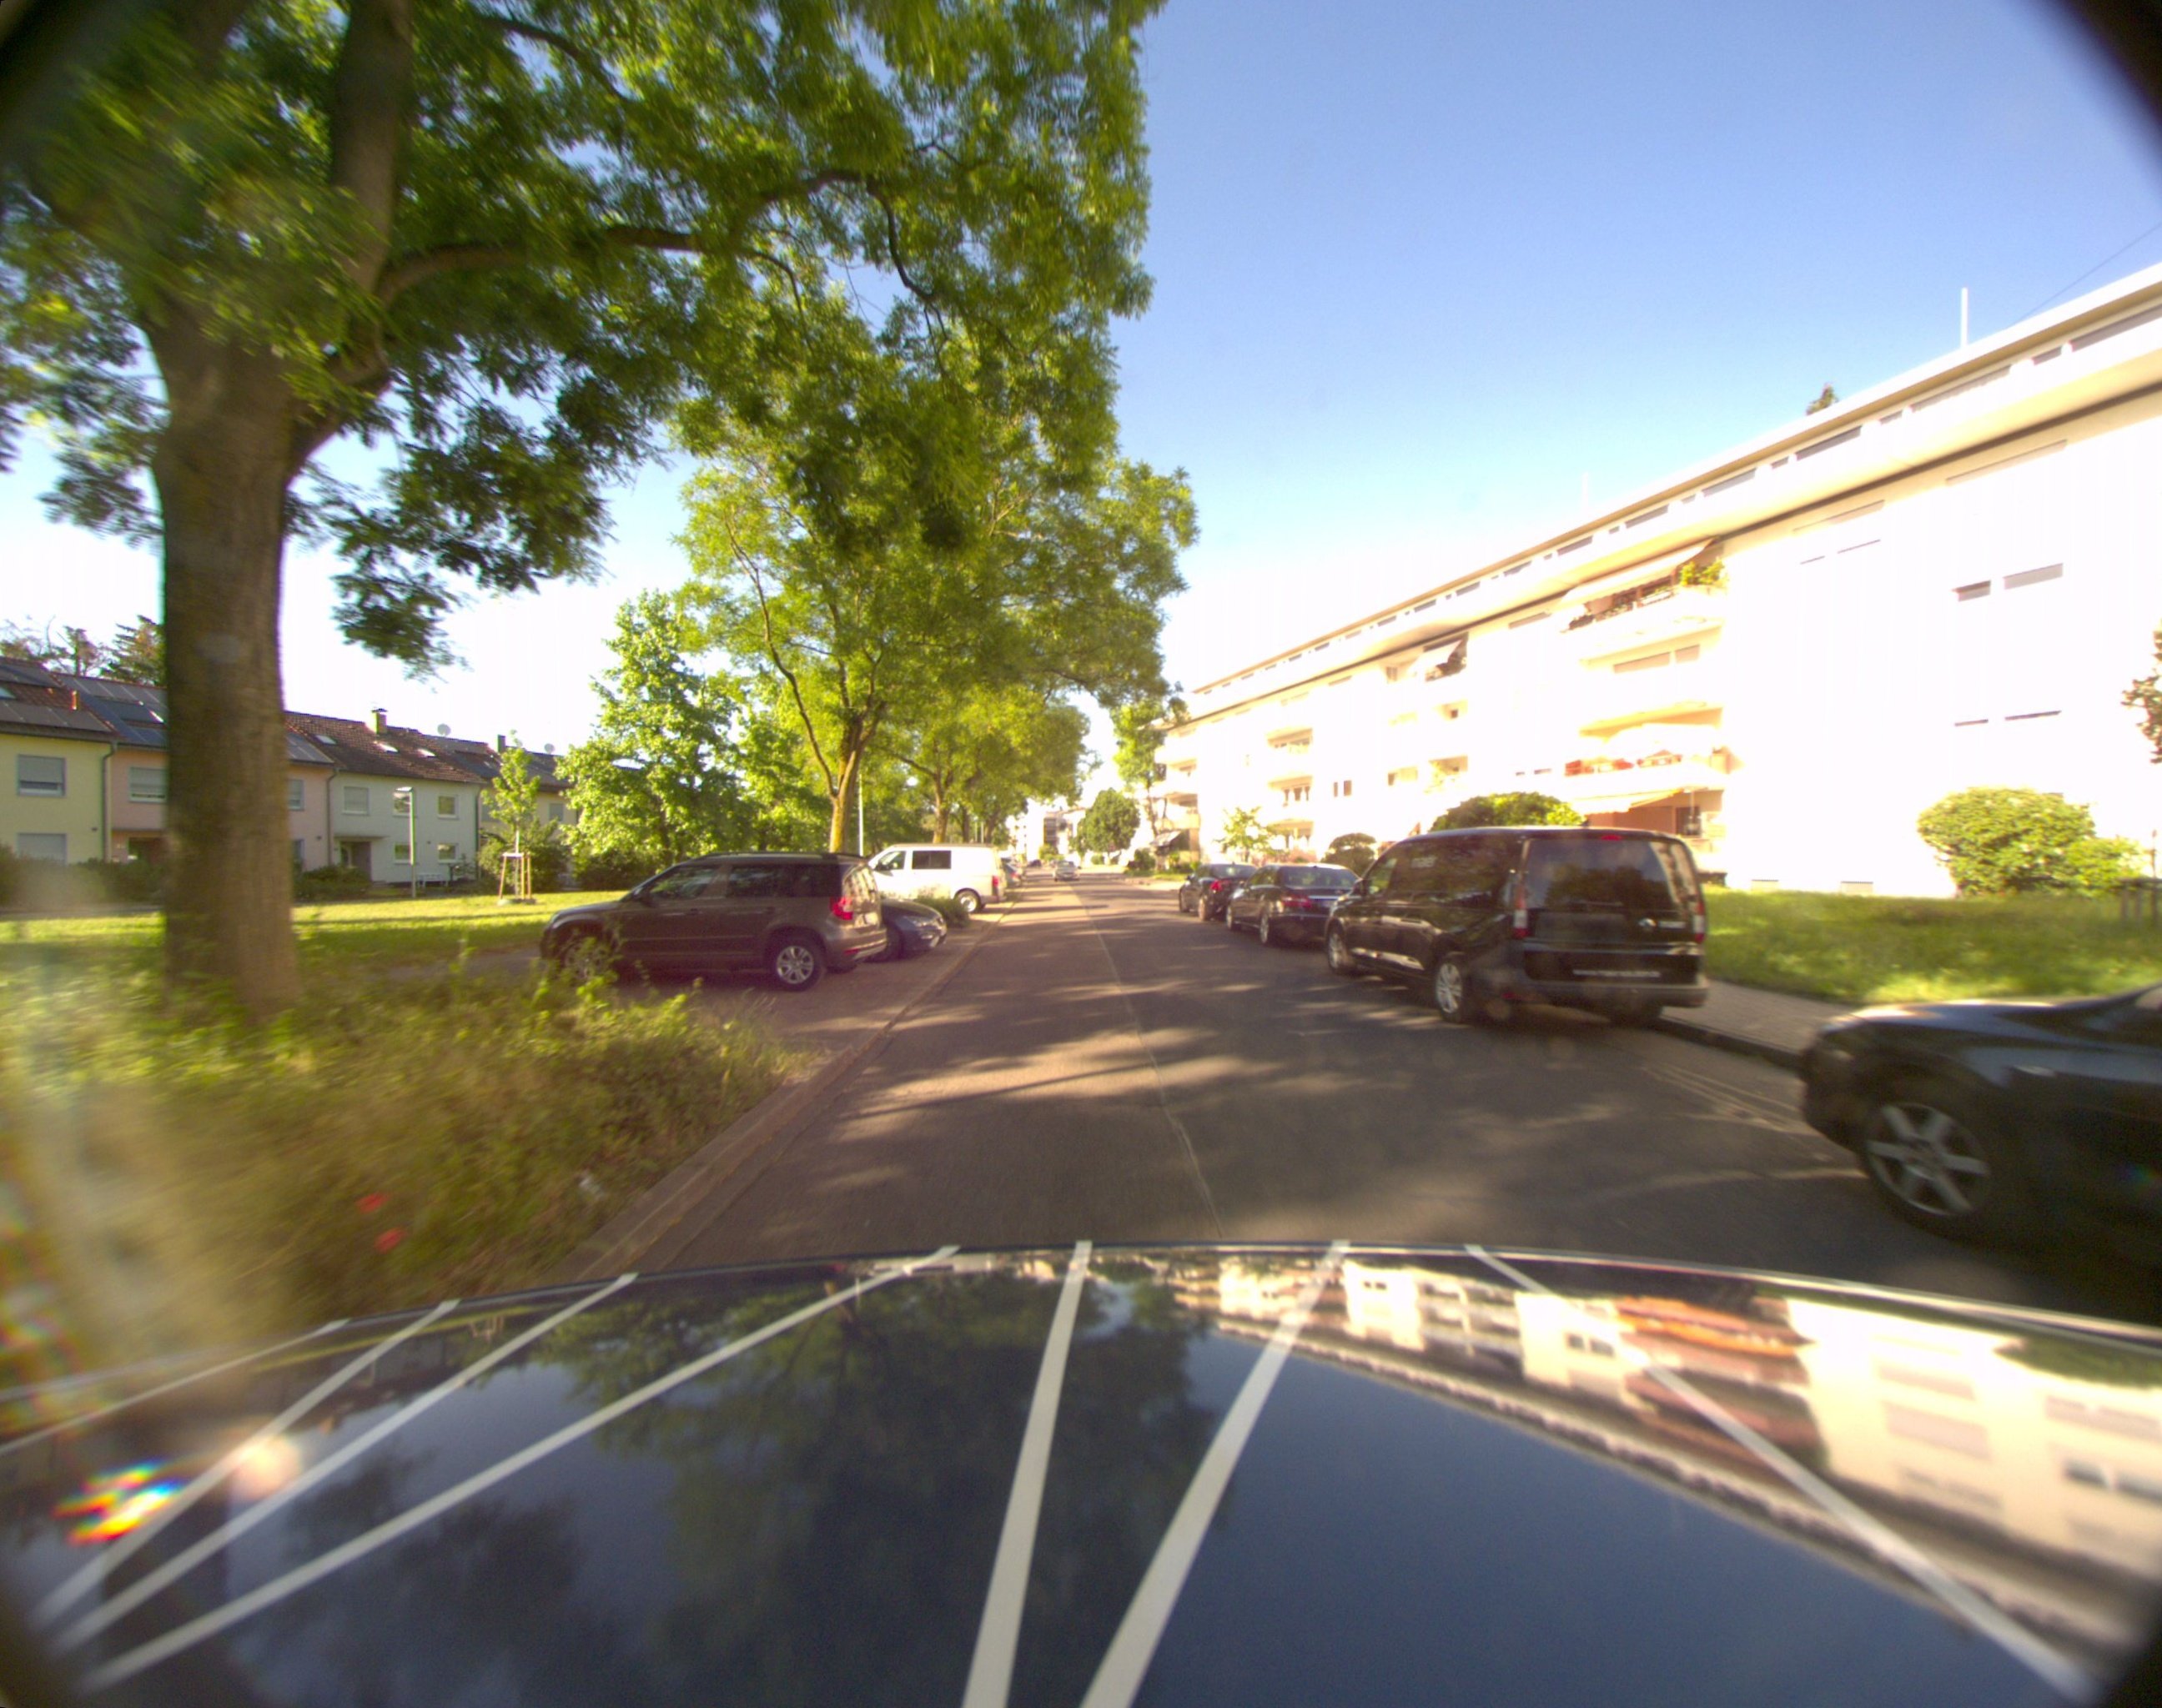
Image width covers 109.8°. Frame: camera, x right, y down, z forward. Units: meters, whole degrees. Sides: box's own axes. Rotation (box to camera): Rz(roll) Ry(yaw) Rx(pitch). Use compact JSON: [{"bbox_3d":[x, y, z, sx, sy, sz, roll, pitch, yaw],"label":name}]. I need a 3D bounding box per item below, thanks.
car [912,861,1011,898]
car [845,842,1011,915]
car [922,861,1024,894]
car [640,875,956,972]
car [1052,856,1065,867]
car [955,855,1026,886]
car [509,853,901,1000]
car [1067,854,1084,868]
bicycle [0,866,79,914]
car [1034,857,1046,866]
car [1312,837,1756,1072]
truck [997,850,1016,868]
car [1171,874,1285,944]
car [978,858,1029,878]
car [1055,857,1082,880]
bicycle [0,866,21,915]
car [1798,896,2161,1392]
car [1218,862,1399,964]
[{"bbox_3d":[-5.009,1.061,32.200,3.917,1.427,1.636,2,0,0],"label":"car"},{"bbox_3d":[-4.417,0.701,22.454,4.462,2.004,2.021,1,0,0],"label":"car"},{"bbox_3d":[-4.876,1.057,34.816,4.492,1.463,1.745,0,0,-3],"label":"car"},{"bbox_3d":[-4.408,1.078,12.361,4.463,1.406,1.775,0,0,-1],"label":"car"},{"bbox_3d":[-3.733,1.203,124.585,1.694,1.661,4.049,-1,0,-7],"label":"car"},{"bbox_3d":[-5.299,0.947,44.884,4.053,1.753,1.745,0,0,-3],"label":"car"},{"bbox_3d":[-4.622,0.852,9.782,4.158,1.685,1.775,0,0,1],"label":"car"},{"bbox_3d":[-0.803,1.008,105.885,2.008,1.837,4.614,-2,0,-5],"label":"car"},{"bbox_3d":[-33.619,1.156,23.943,2.917,1.435,0.825,-2,0,0],"label":"bicycle"},{"bbox_3d":[-8.273,1.502,153.125,1.796,1.535,4.048,-3,0,-12],"label":"car"},{"bbox_3d":[4.211,0.777,8.261,1.845,1.770,4.888,1,0,-1],"label":"car"},{"bbox_3d":[-11.734,0.763,118.699,2.765,2.785,8.261,2,0,-7],"label":"truck"},{"bbox_3d":[3.662,1.336,19.861,1.845,1.473,4.799,1,0,-3],"label":"car"},{"bbox_3d":[-6.361,1.162,62.409,4.053,1.544,1.744,2,0,-5],"label":"car"},{"bbox_3d":[-0.929,0.970,52.910,1.597,1.417,4.169,2,0,-4],"label":"car"},{"bbox_3d":[-34.149,1.155,23.002,2.917,1.465,0.825,-2,0,0],"label":"bicycle"},{"bbox_3d":[4.192,0.920,1.477,1.844,1.445,4.019,1,0,2],"label":"car"},{"bbox_3d":[3.991,0.955,14.223,1.845,1.473,4.574,2,0,-1],"label":"car"}]
